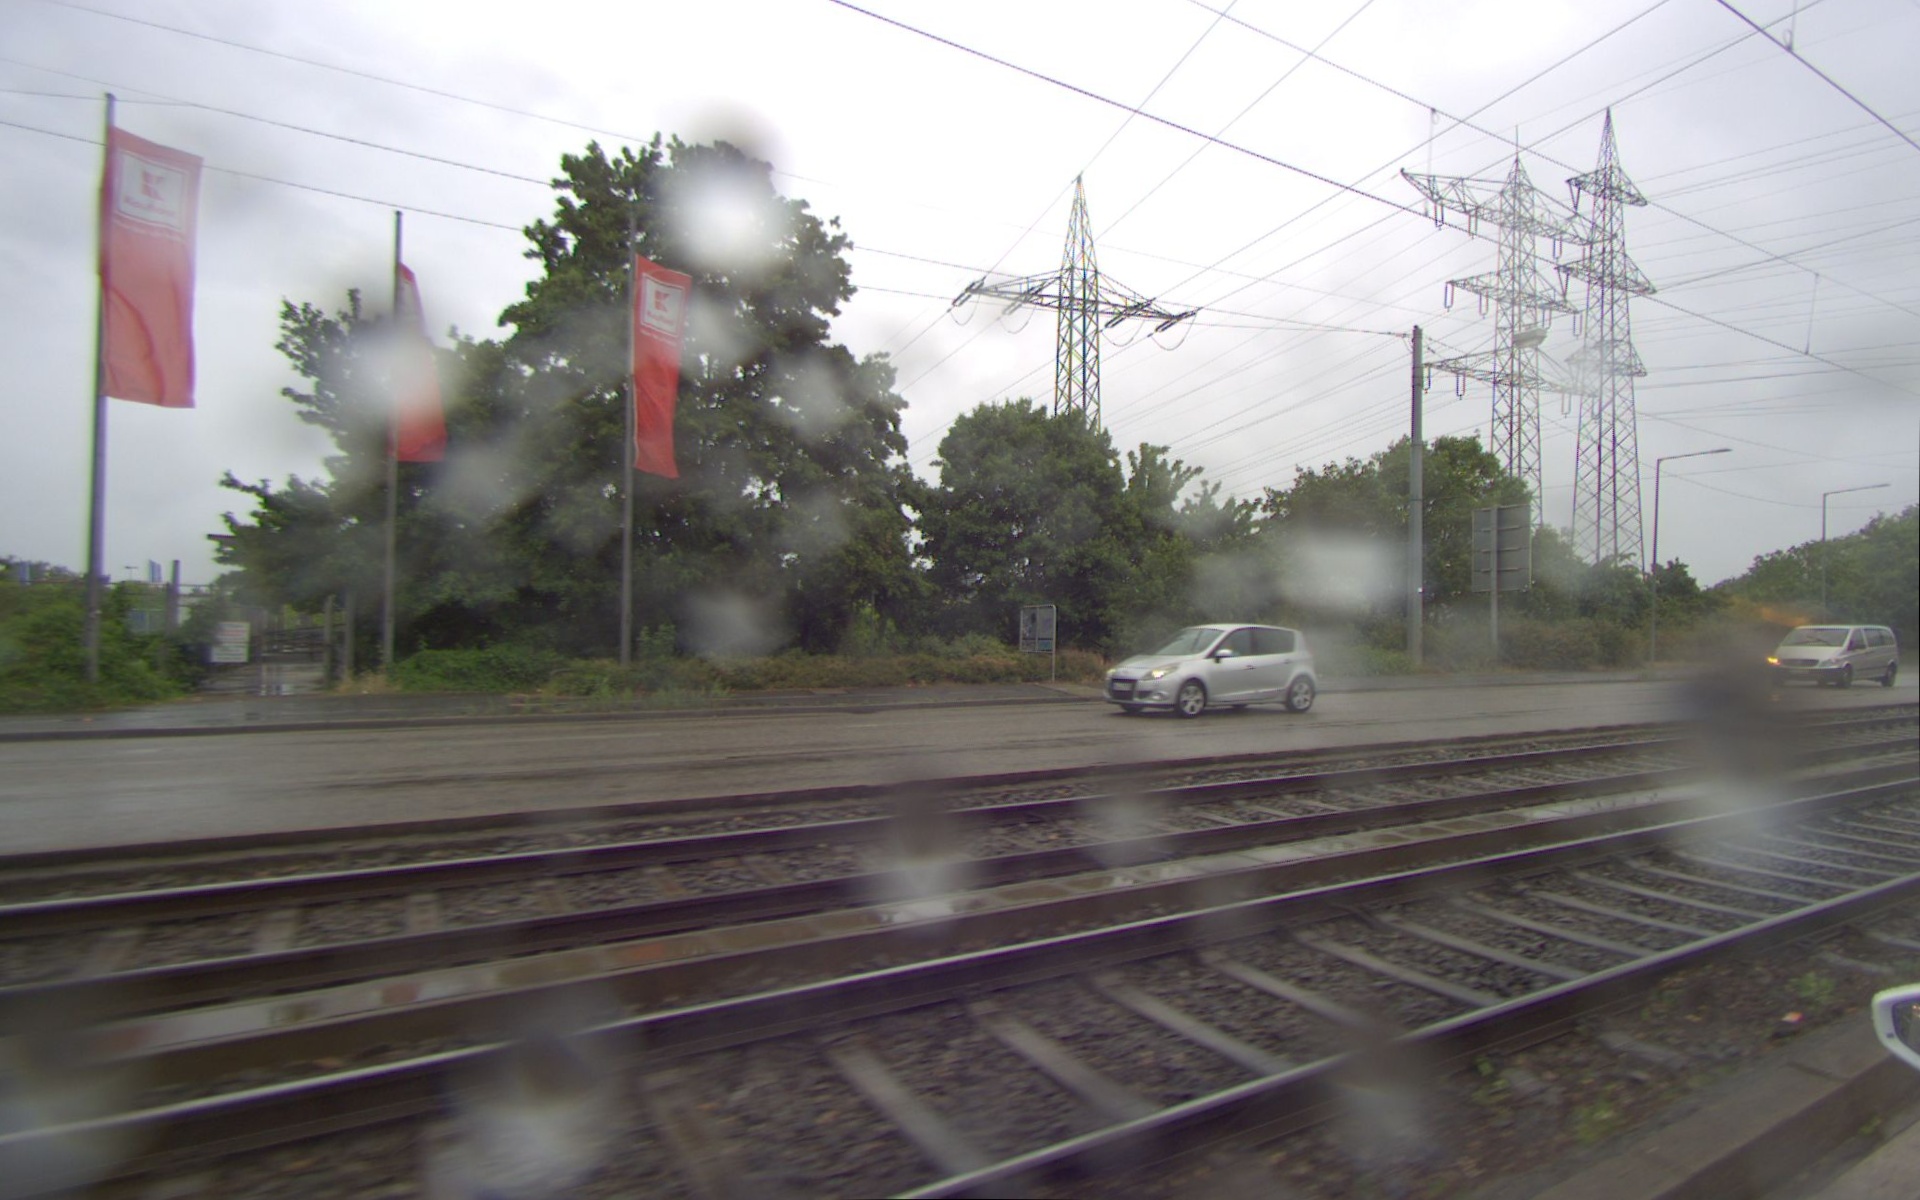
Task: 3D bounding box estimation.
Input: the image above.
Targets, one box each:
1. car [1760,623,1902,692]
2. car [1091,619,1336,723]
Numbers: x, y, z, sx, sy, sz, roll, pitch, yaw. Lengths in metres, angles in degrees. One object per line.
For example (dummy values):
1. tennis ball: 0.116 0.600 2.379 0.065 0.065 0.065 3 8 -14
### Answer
1. car: 26.867 1.706 30.955 4.565 1.909 1.879 0 0 -30
2. car: 4.720 1.212 18.580 4.294 1.664 1.879 0 0 -30
